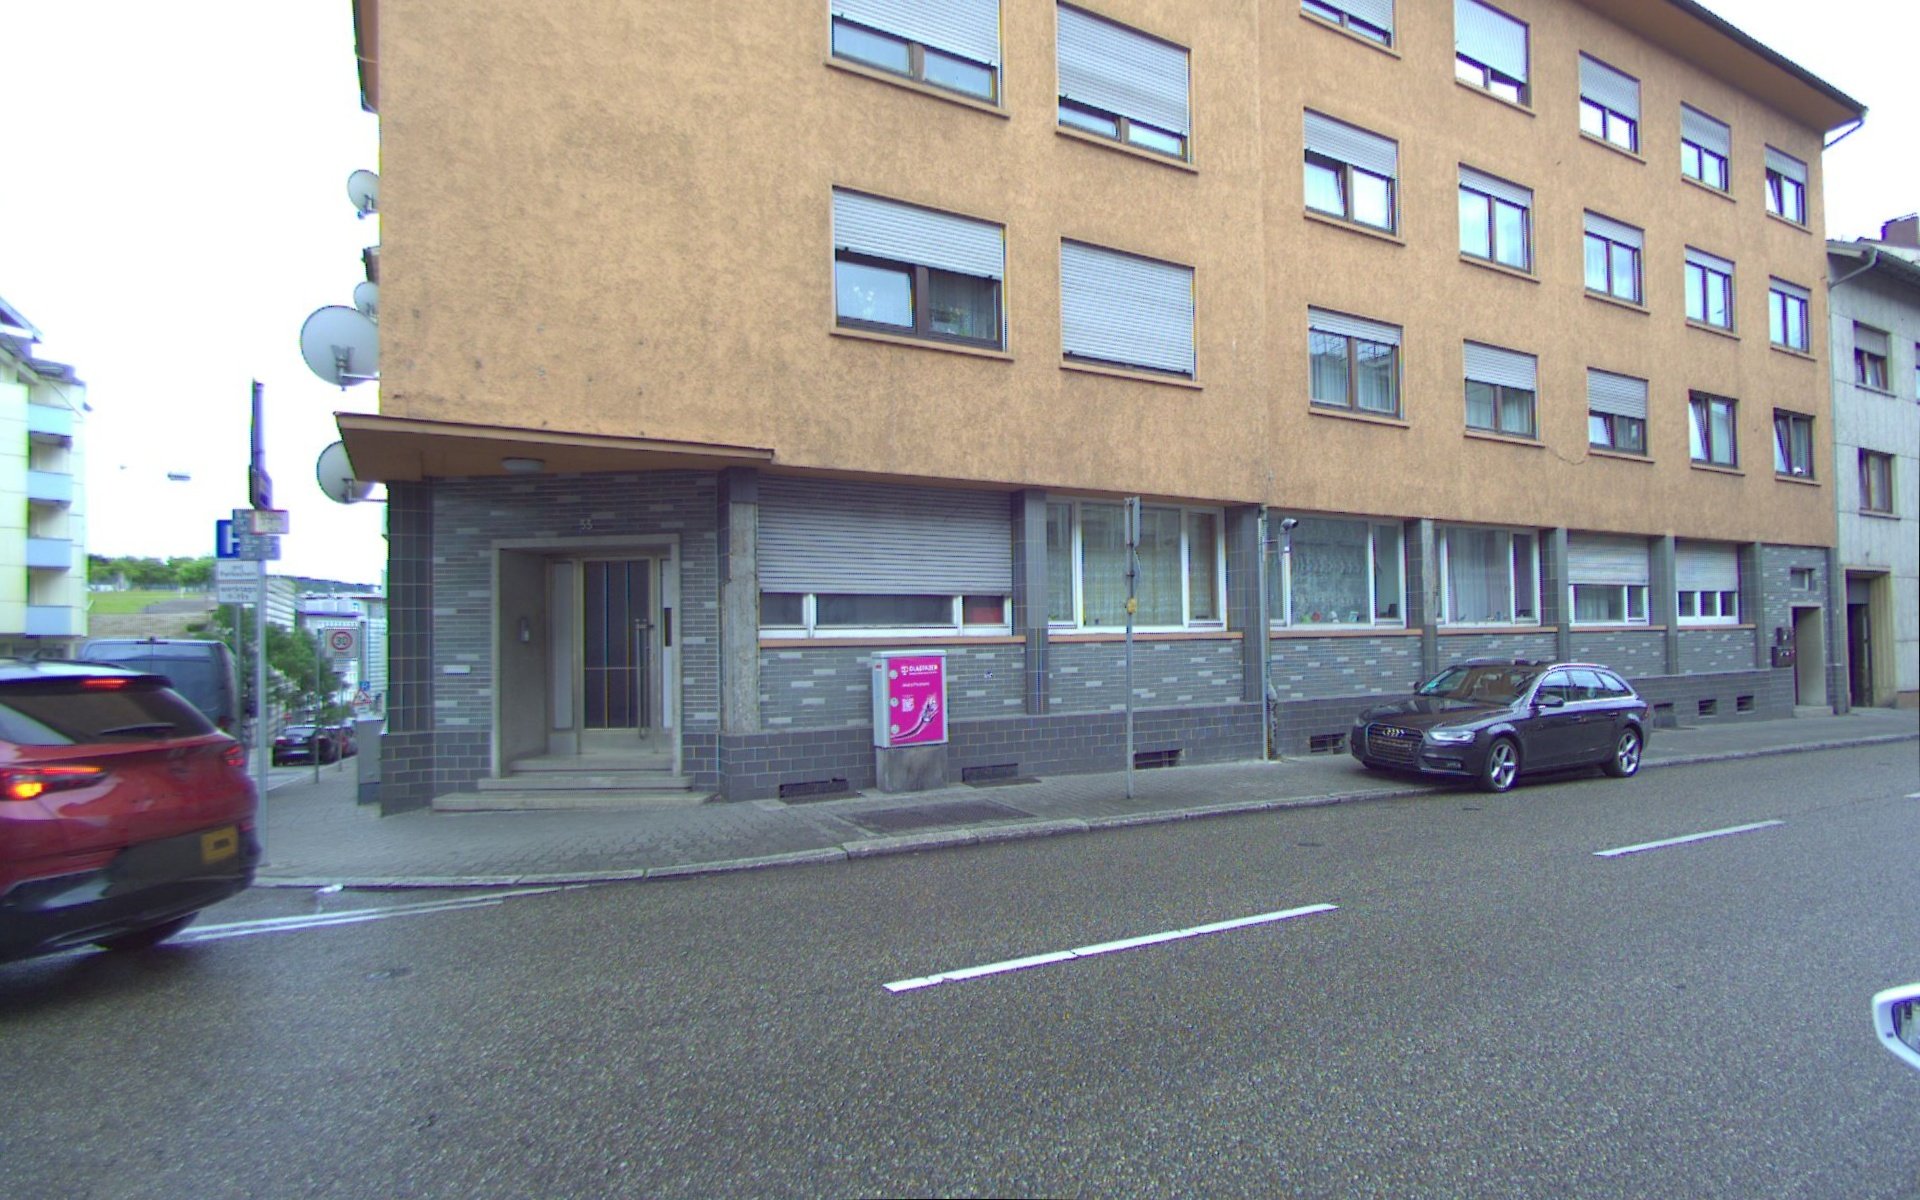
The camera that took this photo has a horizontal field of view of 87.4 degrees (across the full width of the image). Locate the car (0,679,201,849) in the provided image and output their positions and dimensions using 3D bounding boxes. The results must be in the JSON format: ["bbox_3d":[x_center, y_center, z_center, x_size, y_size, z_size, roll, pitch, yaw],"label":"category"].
[{"bbox_3d":[-10.147,1.825,11.416,1.820,1.596,4.127,1,-8,-29],"label":"car"}]

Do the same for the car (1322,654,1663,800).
[{"bbox_3d":[6.878,1.487,12.851,4.475,1.457,1.786,1,0,-31],"label":"car"}]

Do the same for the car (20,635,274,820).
[{"bbox_3d":[-13.188,2.074,16.807,2.223,2.492,6.017,1,-7,-29],"label":"car"}]

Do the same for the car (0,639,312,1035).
[{"bbox_3d":[-5.829,1.037,4.744,4.237,1.605,1.801,0,-4,-9],"label":"car"}]

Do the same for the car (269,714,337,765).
[{"bbox_3d":[-24.459,5.189,37.491,1.796,1.696,4.026,1,-7,-29],"label":"car"}]
